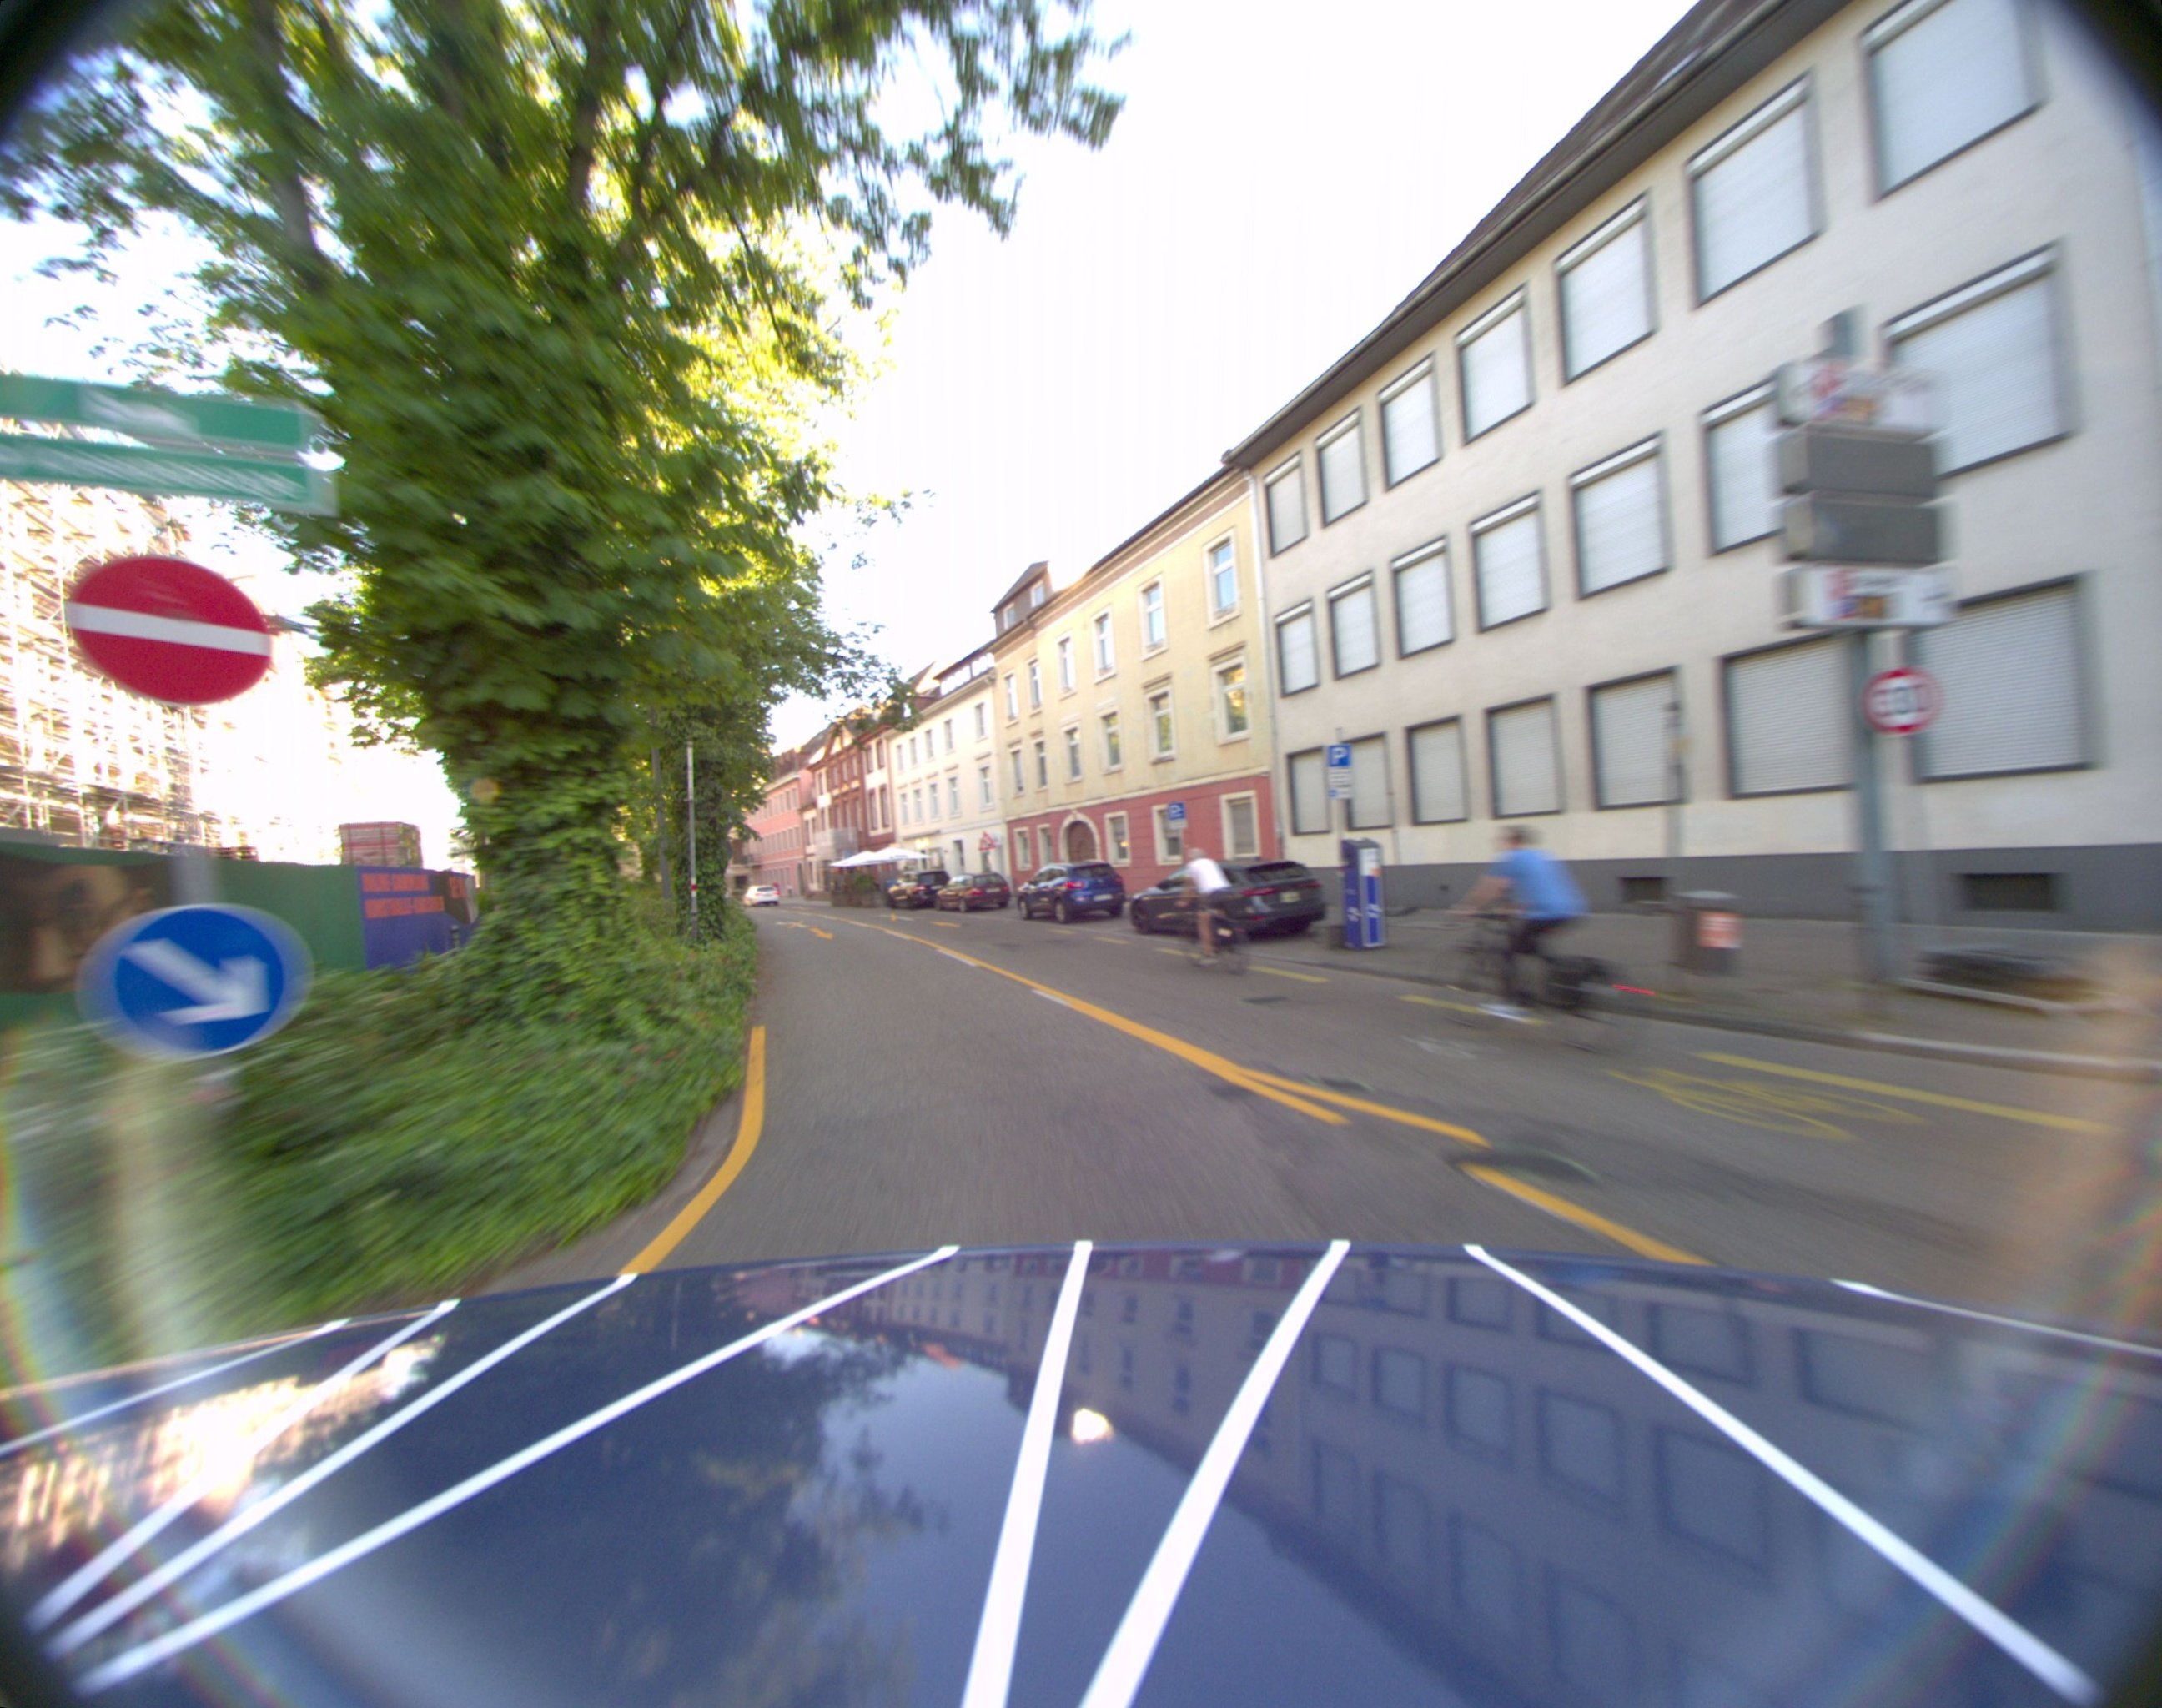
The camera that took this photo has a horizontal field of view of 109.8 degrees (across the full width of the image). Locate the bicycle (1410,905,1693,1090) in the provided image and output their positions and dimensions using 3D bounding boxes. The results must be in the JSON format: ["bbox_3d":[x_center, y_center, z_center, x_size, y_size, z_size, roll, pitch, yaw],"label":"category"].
[{"bbox_3d":[3.479,0.986,5.866,0.612,1.064,1.895,-4,0,-16],"label":"bicycle"}]

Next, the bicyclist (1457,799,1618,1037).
[{"bbox_3d":[3.451,0.449,5.803,0.583,1.665,0.835,-2,0,-17],"label":"bicyclist"}]

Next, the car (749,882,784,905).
[{"bbox_3d":[-21.983,2.735,53.095,1.822,1.455,3.992,-2,-1,-28],"label":"car"}]

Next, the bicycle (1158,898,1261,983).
[{"bbox_3d":[1.775,1.178,10.854,0.589,0.982,2.028,-4,0,-16],"label":"bicycle"}]

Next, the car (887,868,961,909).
[{"bbox_3d":[-7.069,1.536,33.940,1.821,1.562,4.381,-5,0,-30],"label":"car"}]

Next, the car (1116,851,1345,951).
[{"bbox_3d":[2.737,0.873,15.253,1.883,1.499,4.779,-7,1,-26],"label":"car"}]

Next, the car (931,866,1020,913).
[{"bbox_3d":[-4.157,1.360,29.295,1.774,1.479,4.185,-7,1,-31],"label":"car"}]

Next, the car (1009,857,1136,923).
[{"bbox_3d":[-0.355,0.994,21.549,1.809,1.562,4.147,-5,0,-27],"label":"car"}]

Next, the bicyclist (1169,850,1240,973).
[{"bbox_3d":[1.746,0.784,10.873,0.576,1.649,1.009,-2,0,-16],"label":"bicyclist"}]
